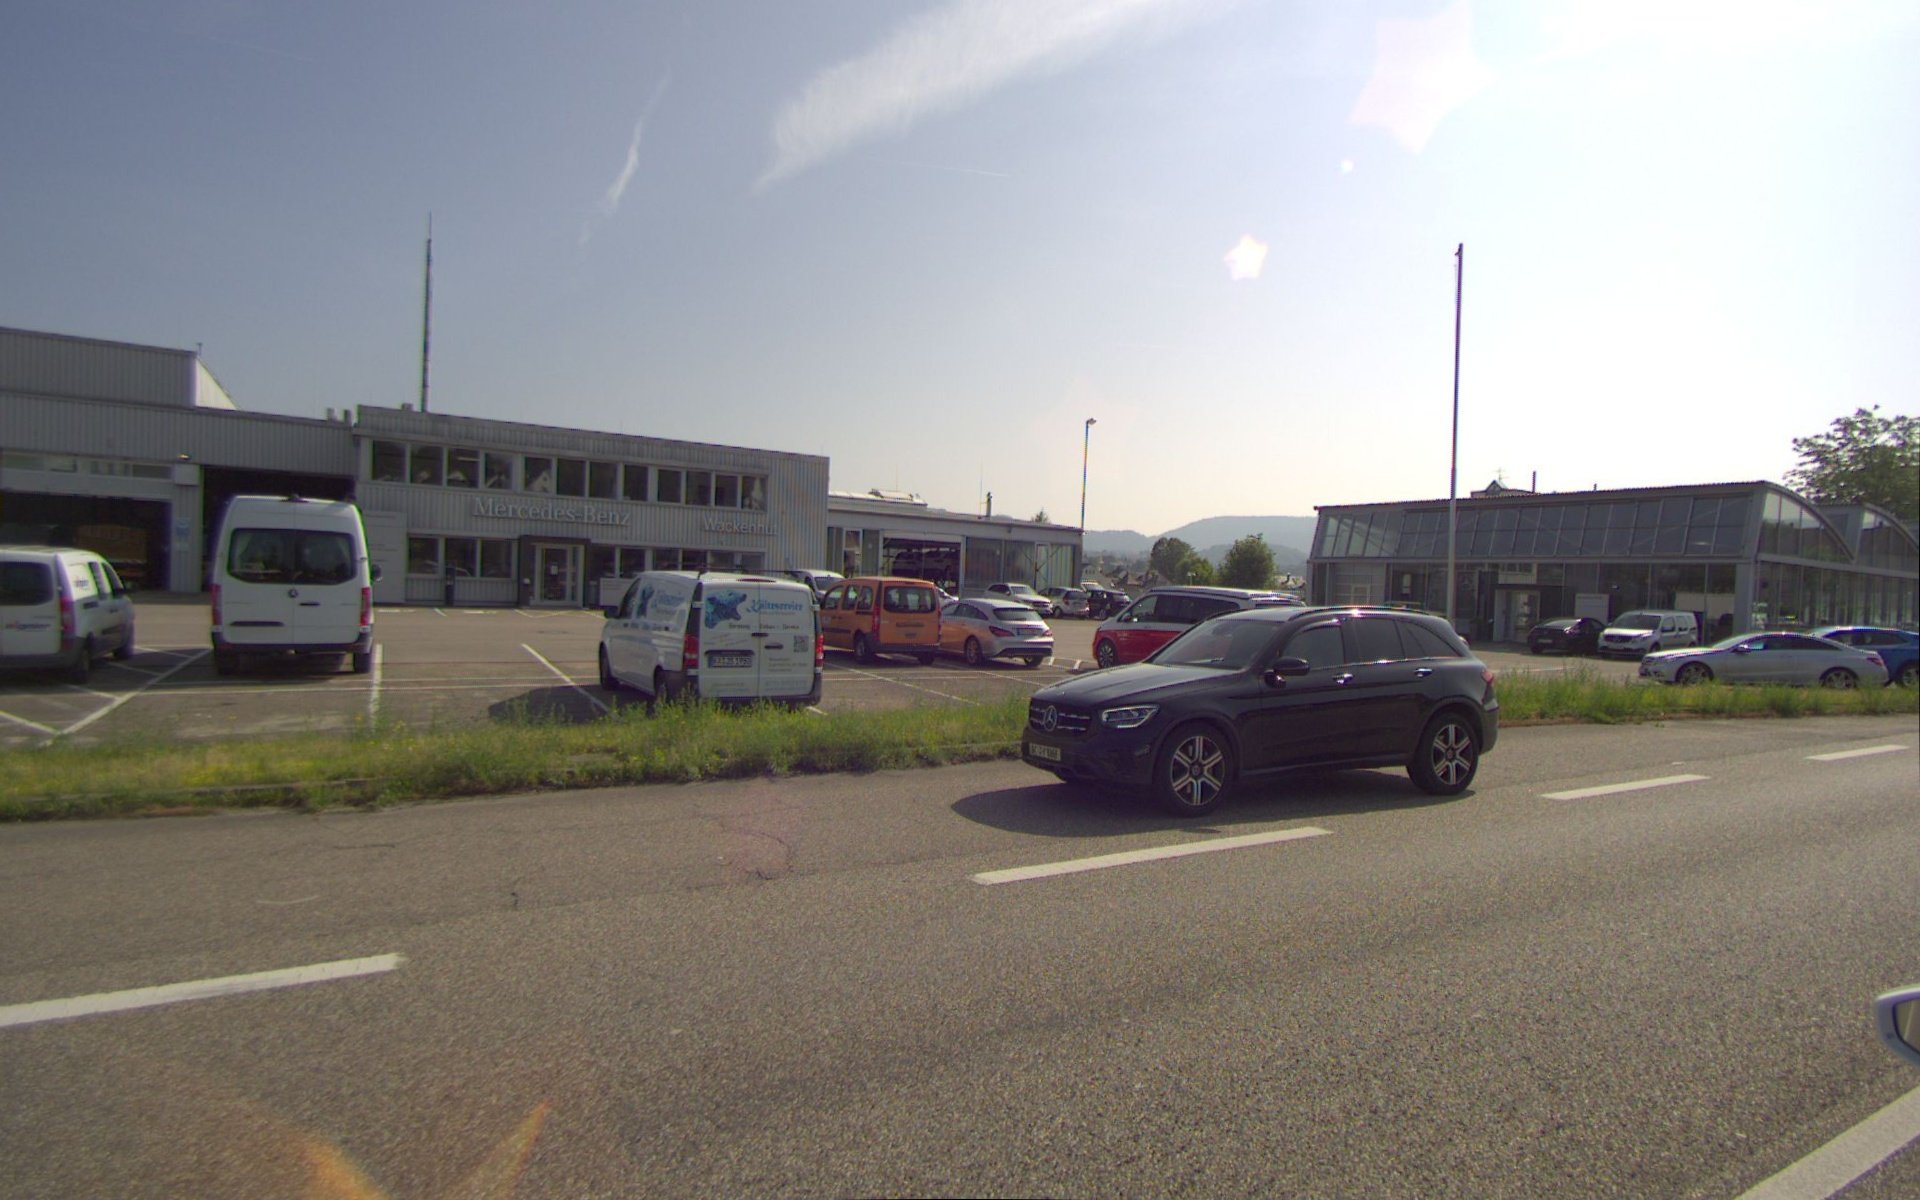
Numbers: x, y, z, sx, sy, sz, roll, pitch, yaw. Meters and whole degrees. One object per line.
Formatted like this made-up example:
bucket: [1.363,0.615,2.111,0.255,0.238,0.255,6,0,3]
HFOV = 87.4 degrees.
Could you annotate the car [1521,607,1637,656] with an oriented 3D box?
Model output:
car: [23.680,1.164,38.386,4.883,1.736,1.795,0,1,-32]

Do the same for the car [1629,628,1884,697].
car: [18.583,1.423,23.683,4.307,1.385,1.854,1,0,18]

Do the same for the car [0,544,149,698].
car: [-13.202,0.184,14.336,1.965,1.864,4.420,1,2,-32]

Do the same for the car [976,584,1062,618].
car: [2.910,0.024,50.684,2.183,1.587,4.796,0,1,-27]

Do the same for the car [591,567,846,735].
car: [-3.576,0.534,14.109,2.120,1.883,4.645,1,2,-32]

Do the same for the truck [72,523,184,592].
truck: [-32.803,-1.560,39.830,2.424,2.389,6.840,2,-1,-32]

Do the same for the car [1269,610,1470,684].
car: [9.479,1.050,23.590,4.146,1.422,1.898,2,1,18]

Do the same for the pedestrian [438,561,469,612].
pedestrian: [-17.603,-0.469,34.920,0.841,1.712,0.815,2,0,-34]

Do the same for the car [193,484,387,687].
car: [-10.929,-0.284,16.813,2.259,2.782,5.692,2,2,-30]

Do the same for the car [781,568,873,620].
car: [-5.270,-0.257,39.233,1.930,1.879,4.792,0,1,-30]

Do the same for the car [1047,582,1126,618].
car: [7.498,-0.021,59.964,2.186,2.050,4.790,0,1,-31]

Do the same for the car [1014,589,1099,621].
car: [5.001,0.220,52.644,2.183,1.587,4.796,0,1,-27]

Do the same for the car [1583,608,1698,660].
car: [24.613,1.185,36.277,4.357,1.736,1.796,0,1,-31]

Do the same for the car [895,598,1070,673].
car: [0.405,0.747,23.291,1.945,1.417,4.440,1,1,-32]

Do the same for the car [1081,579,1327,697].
car: [4.906,0.676,20.925,2.204,2.008,4.765,1,2,-32]

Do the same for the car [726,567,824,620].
car: [-7.087,-0.269,38.108,2.185,1.879,4.792,0,1,-30]

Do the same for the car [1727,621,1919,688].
car: [22.340,1.349,25.468,4.148,1.527,1.985,1,0,18]

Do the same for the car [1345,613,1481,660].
car: [15.152,1.176,33.514,4.777,1.405,1.795,0,1,-32]

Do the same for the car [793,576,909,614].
car: [-4.771,-0.234,44.088,4.777,1.587,1.795,0,1,-32]

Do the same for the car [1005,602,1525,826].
car: [2.809,0.896,9.172,4.478,1.651,1.807,1,-1,-24]

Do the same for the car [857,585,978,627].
car: [-1.685,0.241,40.251,4.517,1.512,1.795,2,0,-32]

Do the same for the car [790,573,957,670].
car: [-2.057,0.403,22.617,1.979,1.832,4.356,1,2,-32]
